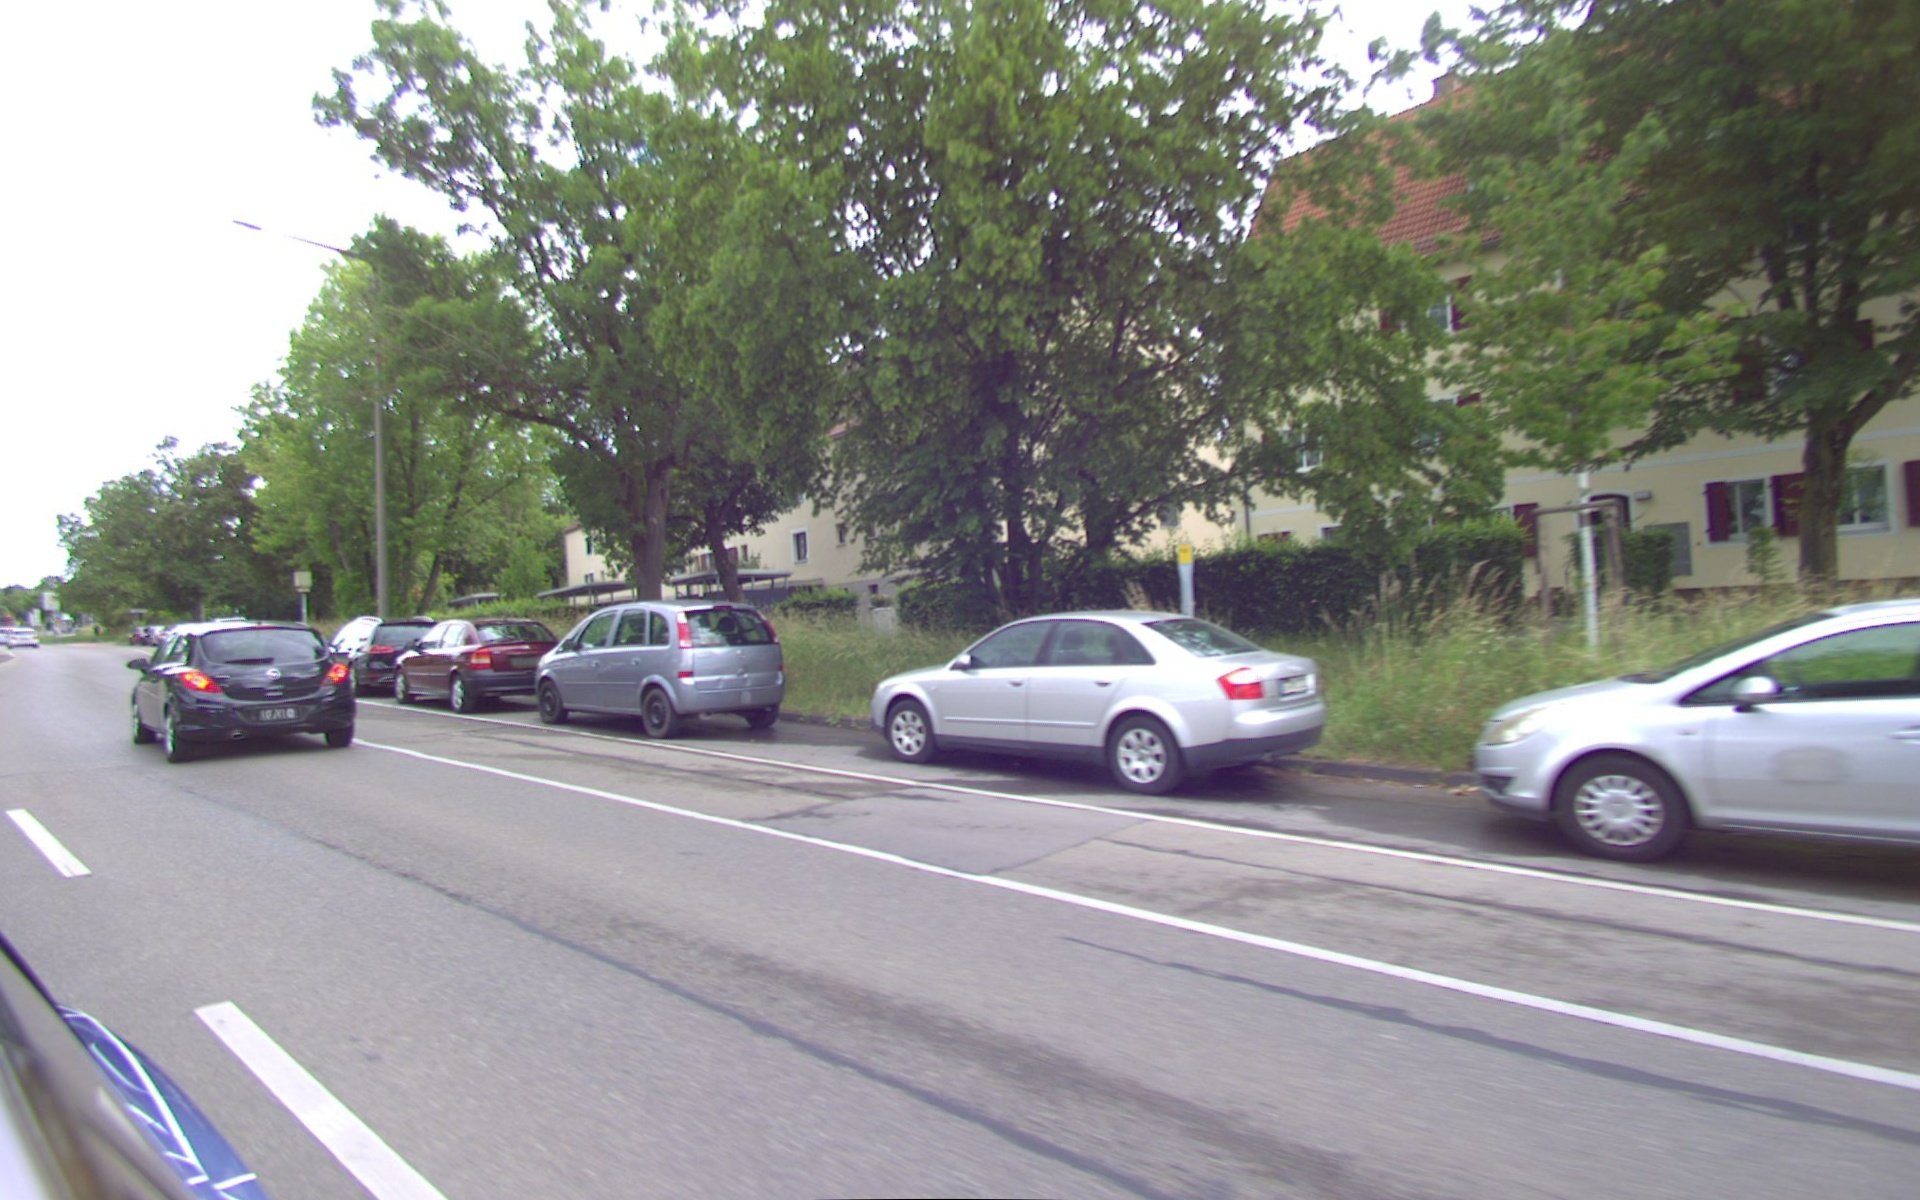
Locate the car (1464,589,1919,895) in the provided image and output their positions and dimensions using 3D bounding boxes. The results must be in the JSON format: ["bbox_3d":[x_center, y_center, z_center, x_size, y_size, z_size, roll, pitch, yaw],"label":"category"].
[{"bbox_3d":[5.097,0.681,5.521,3.944,1.444,1.620,-2,0,37],"label":"car"}]

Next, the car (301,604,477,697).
[{"bbox_3d":[-11.415,0.935,20.085,4.653,1.582,1.854,-2,0,45],"label":"car"}]

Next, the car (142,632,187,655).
[{"bbox_3d":[-57.377,3.148,72.969,4.056,1.518,1.855,-2,0,42],"label":"car"}]

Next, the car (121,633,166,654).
[{"bbox_3d":[-64.429,3.439,79.822,3.881,1.518,1.858,-2,0,37],"label":"car"}]

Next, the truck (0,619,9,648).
[{"bbox_3d":[-120.079,4.183,125.746,2.791,3.507,7.831,-1,-1,-43],"label":"truck"}]

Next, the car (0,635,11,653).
[{"bbox_3d":[-98.395,4.515,103.299,4.406,1.783,1.808,-2,0,43],"label":"car"}]

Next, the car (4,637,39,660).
[{"bbox_3d":[-74.106,3.823,79.863,1.854,1.582,4.341,-2,1,-45],"label":"car"}]

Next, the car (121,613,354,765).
[{"bbox_3d":[-8.580,0.910,11.888,1.618,1.478,4.002,1,-1,-45],"label":"car"}]

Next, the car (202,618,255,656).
[{"bbox_3d":[-36.519,1.807,50.480,1.851,1.679,4.398,-2,1,-39],"label":"car"}]

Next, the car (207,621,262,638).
[{"bbox_3d":[-88.337,3.603,123.215,1.740,2.029,5.226,-1,-2,43],"label":"car"}]

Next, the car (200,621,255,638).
[{"bbox_3d":[-90.636,3.656,125.289,1.739,2.029,5.227,-1,-2,42],"label":"car"}]

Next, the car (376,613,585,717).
[{"bbox_3d":[-7.950,0.998,16.592,4.150,1.458,1.748,-2,-1,44],"label":"car"}]

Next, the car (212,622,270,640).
[{"bbox_3d":[-83.224,3.567,117.198,2.011,2.029,5.227,-1,-2,42],"label":"car"}]

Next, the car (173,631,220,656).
[{"bbox_3d":[-49.631,2.819,65.764,4.002,1.518,1.854,-3,-1,45],"label":"car"}]

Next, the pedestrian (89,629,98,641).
[{"bbox_3d":[-107.291,4.361,125.304,0.639,1.458,0.747,-1,0,43],"label":"pedestrian"}]

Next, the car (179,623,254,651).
[{"bbox_3d":[-43.430,2.170,59.113,3.976,1.518,1.866,-2,-1,25],"label":"car"}]

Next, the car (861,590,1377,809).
[{"bbox_3d":[1.210,0.742,9.102,4.357,1.507,1.748,-2,-2,43],"label":"car"}]

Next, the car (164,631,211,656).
[{"bbox_3d":[-52.799,2.973,69.129,3.999,1.518,1.855,-3,-1,42],"label":"car"}]

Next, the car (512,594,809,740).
[{"bbox_3d":[-4.000,0.787,13.163,4.132,1.604,1.750,-2,-1,41],"label":"car"}]
